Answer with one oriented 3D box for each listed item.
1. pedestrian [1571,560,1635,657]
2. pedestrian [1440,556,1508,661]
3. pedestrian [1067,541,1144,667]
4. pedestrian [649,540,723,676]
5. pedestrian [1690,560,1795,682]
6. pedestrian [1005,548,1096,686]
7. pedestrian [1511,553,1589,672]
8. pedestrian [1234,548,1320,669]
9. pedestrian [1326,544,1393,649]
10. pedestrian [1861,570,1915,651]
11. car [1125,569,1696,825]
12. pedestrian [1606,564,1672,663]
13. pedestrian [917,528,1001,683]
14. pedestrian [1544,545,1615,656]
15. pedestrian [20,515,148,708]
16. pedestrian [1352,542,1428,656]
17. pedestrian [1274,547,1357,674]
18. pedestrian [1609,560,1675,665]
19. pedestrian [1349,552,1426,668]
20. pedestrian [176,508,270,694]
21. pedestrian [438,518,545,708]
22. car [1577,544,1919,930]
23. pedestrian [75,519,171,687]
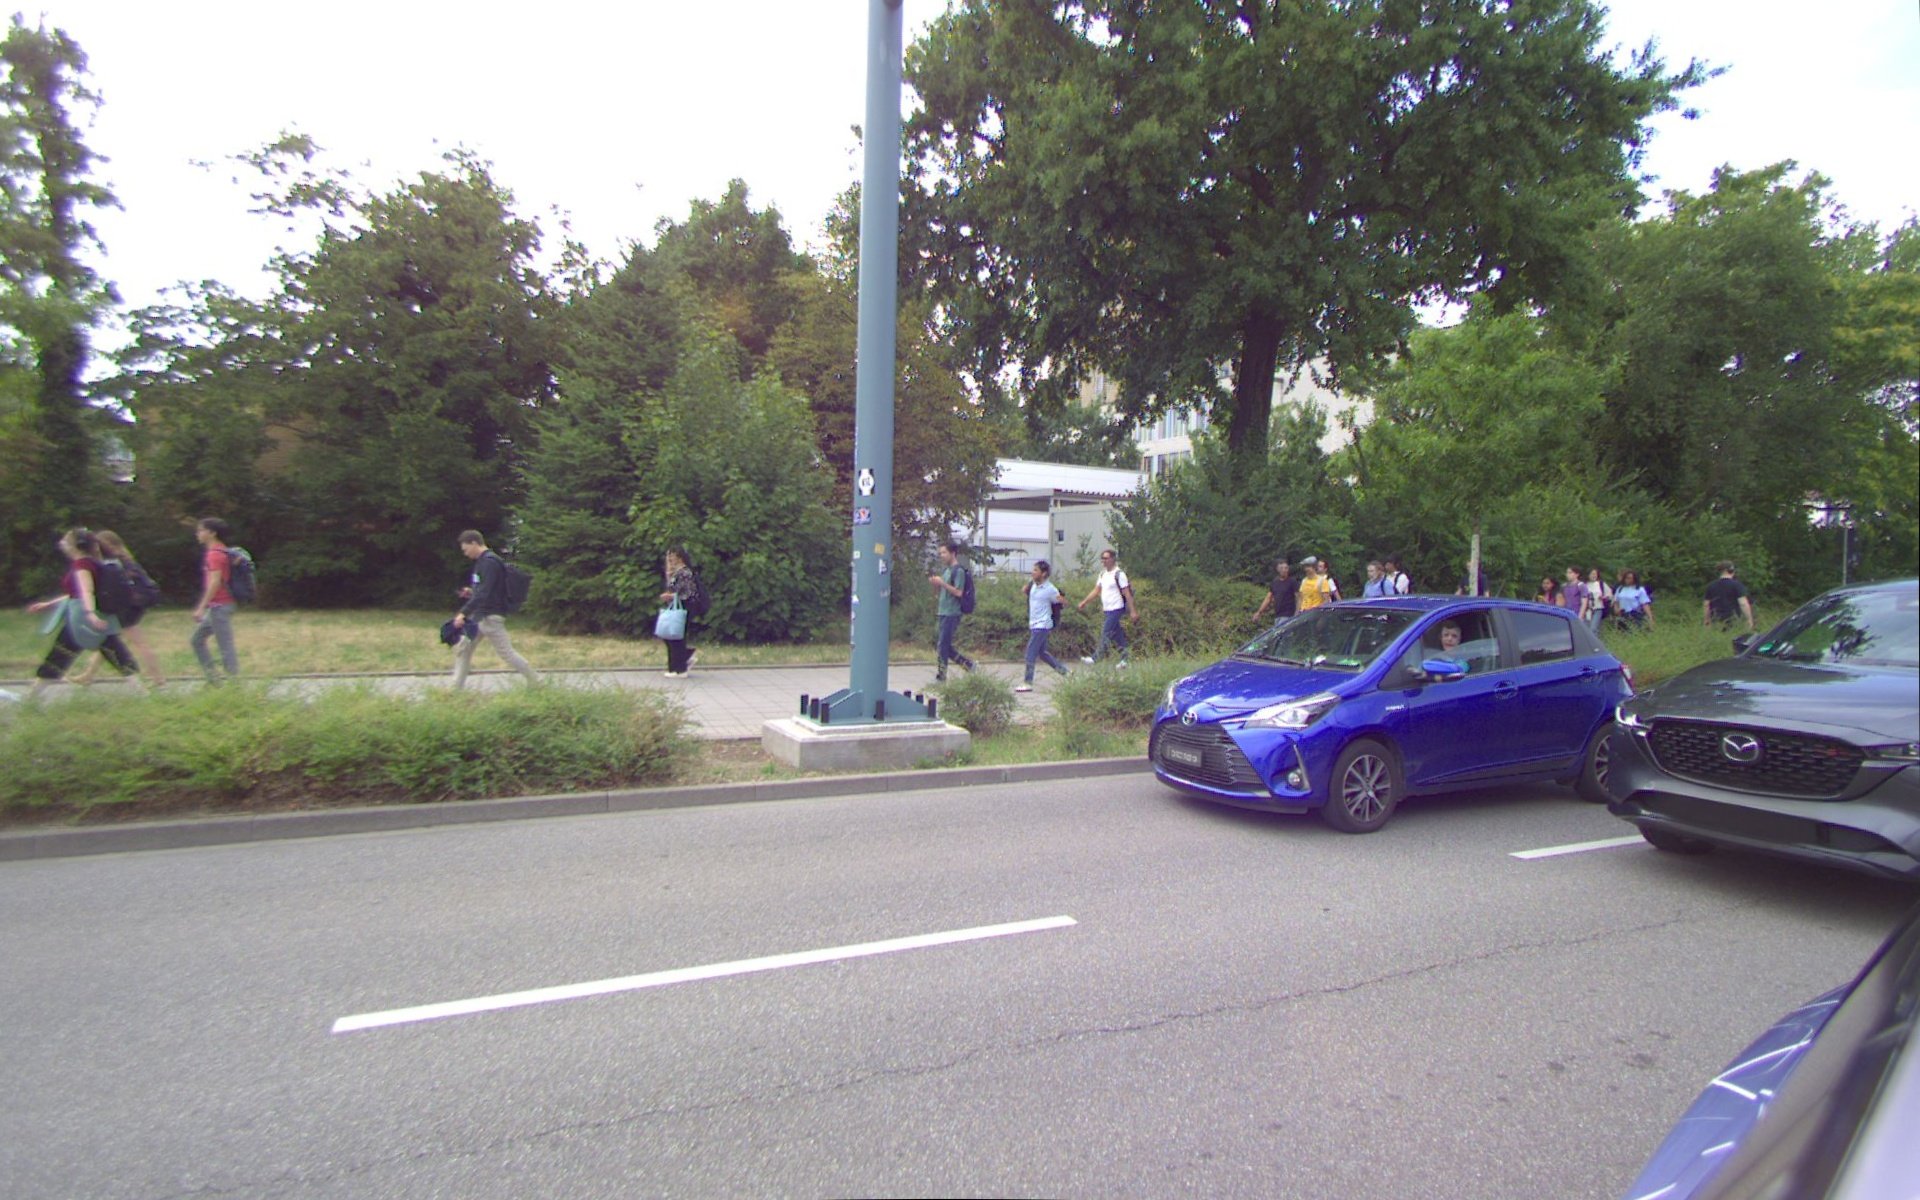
[{"bbox_3d":[12.127,0.150,19.095,0.764,1.767,0.660,1,2,-26],"label":"pedestrian"},{"bbox_3d":[8.863,0.139,17.458,0.764,1.767,0.660,1,2,-26],"label":"pedestrian"},{"bbox_3d":[2.097,0.050,14.665,0.795,1.766,0.725,1,1,-24],"label":"pedestrian"},{"bbox_3d":[-3.368,0.084,12.415,0.769,1.603,0.639,1,1,-24],"label":"pedestrian"},{"bbox_3d":[12.327,0.305,15.981,0.871,1.853,0.936,1,1,3],"label":"pedestrian"},{"bbox_3d":[1.104,0.188,12.438,0.795,1.622,0.779,1,2,-24],"label":"pedestrian"},{"bbox_3d":[8.996,0.176,15.442,0.764,1.767,0.660,1,2,-26],"label":"pedestrian"},{"bbox_3d":[4.585,0.107,14.671,0.951,1.687,0.660,1,2,-26],"label":"pedestrian"},{"bbox_3d":[6.709,-0.068,17.000,0.764,1.720,0.660,1,2,-26],"label":"pedestrian"},{"bbox_3d":[21.407,0.231,23.344,0.725,1.817,0.648,1,1,-26],"label":"pedestrian"},{"bbox_3d":[3.312,0.577,7.514,3.751,1.512,1.708,1,2,-22],"label":"car"},{"bbox_3d":[12.371,0.231,18.445,0.764,1.767,0.660,1,2,-26],"label":"pedestrian"},{"bbox_3d":[-0.017,0.058,12.467,0.795,1.844,0.659,1,1,-24],"label":"pedestrian"},{"bbox_3d":[10.104,-0.005,16.511,0.764,1.767,0.627,1,2,-26],"label":"pedestrian"},{"bbox_3d":[-7.929,0.096,9.190,0.738,1.675,0.558,1,1,-24],"label":"pedestrian"},{"bbox_3d":[6.912,-0.008,16.266,0.938,1.789,0.659,1,-1,-26],"label":"pedestrian"},{"bbox_3d":[4.947,0.130,14.092,0.824,1.710,0.660,1,2,-26],"label":"pedestrian"},{"bbox_3d":[11.823,0.208,17.545,0.773,1.767,0.584,1,1,-26],"label":"pedestrian"},{"bbox_3d":[6.353,0.134,15.053,0.795,1.668,0.660,1,2,-26],"label":"pedestrian"},{"bbox_3d":[-7.315,0.002,10.066,0.650,1.785,0.487,1,1,-24],"label":"pedestrian"},{"bbox_3d":[-4.755,0.118,10.305,0.934,1.844,0.696,1,1,-24],"label":"pedestrian"},{"bbox_3d":[6.028,0.587,5.813,4.547,1.669,1.910,0,1,-22],"label":"car"},{"bbox_3d":[-8.509,0.025,10.307,0.639,1.653,0.470,1,1,-24],"label":"pedestrian"}]
